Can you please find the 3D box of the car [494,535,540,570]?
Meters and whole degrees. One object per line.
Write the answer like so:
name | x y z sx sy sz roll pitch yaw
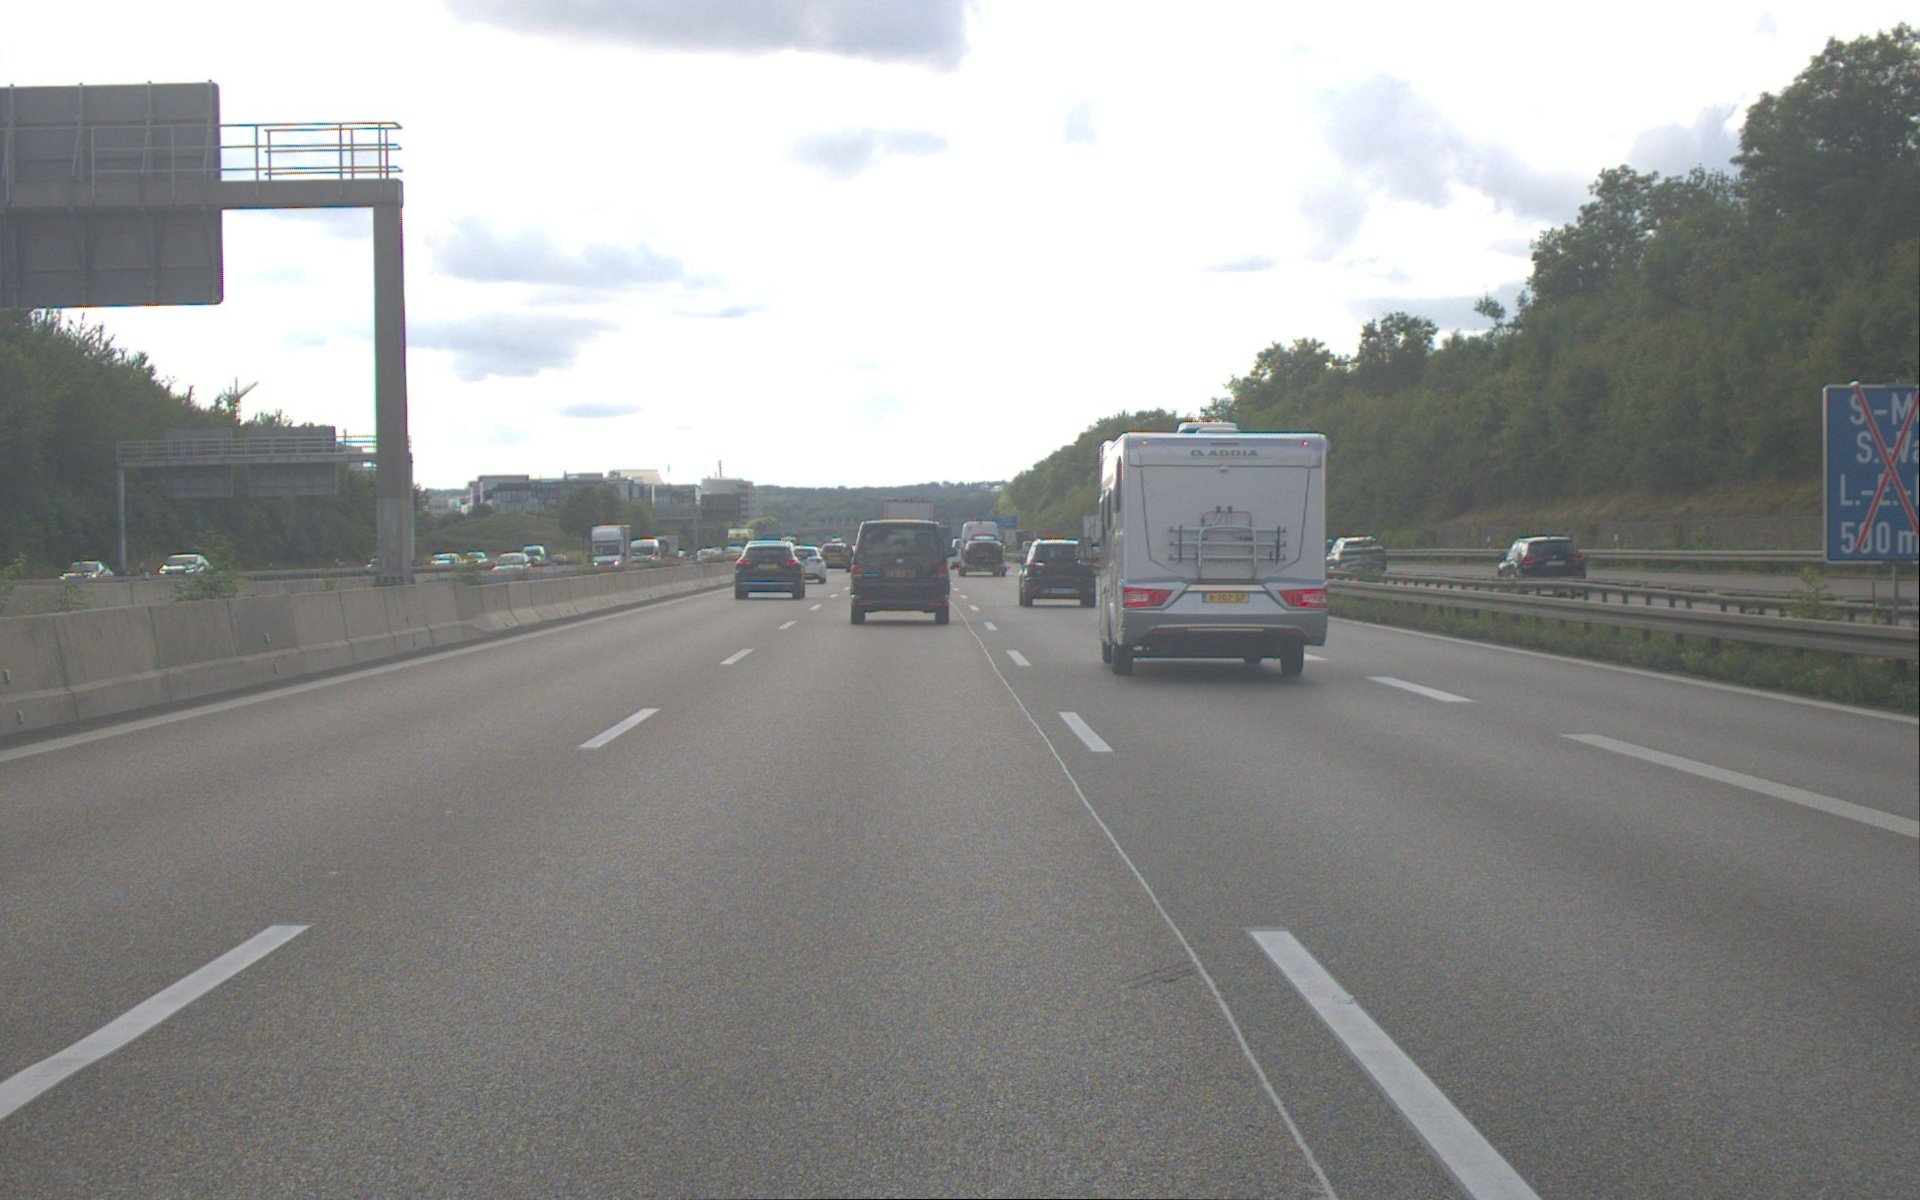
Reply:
car | -23.242 -2.489 180.596 1.834 1.780 5.504 -1 1 -2

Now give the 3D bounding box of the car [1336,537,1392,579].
car | 15.159 -1.604 129.225 1.541 1.479 3.942 -2 1 -1

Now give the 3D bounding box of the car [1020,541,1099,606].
car | 2.412 -0.665 84.193 1.697 1.559 4.114 0 1 -2

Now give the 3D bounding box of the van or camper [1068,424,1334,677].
van or camper | 2.736 -0.602 41.169 2.468 2.712 7.662 1 1 -1

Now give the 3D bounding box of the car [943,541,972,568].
car | -0.169 -2.854 217.203 1.752 1.689 4.190 0 1 -1

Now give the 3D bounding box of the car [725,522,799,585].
car | -5.441 -1.276 94.713 1.873 1.692 4.072 0 1 -1

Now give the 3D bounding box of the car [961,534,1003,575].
car | 1.025 -2.173 164.005 1.913 1.912 4.031 0 1 -1

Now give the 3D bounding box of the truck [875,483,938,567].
truck | -2.881 -4.048 186.110 3.263 4.360 11.027 1 1 -1

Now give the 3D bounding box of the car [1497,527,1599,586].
car | 15.700 -1.176 91.974 1.843 1.479 4.526 -2 1 -1

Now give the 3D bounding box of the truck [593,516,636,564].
truck | -23.971 -4.152 239.052 2.353 3.252 7.826 -1 1 -1

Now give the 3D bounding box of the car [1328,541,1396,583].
car | 15.131 -1.452 129.577 1.843 1.479 4.526 -2 1 -2

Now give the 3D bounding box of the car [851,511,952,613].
car | -1.124 -0.742 65.822 1.855 1.904 4.260 0 1 -1

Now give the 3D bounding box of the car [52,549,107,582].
car | -39.406 -1.535 153.976 1.502 1.422 4.109 -1 1 -2

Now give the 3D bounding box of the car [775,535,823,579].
car | -6.050 -1.617 129.486 1.697 1.605 4.114 0 1 -2

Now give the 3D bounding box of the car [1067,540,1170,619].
car | 3.046 -0.422 66.805 1.720 1.474 4.392 0 1 -1
